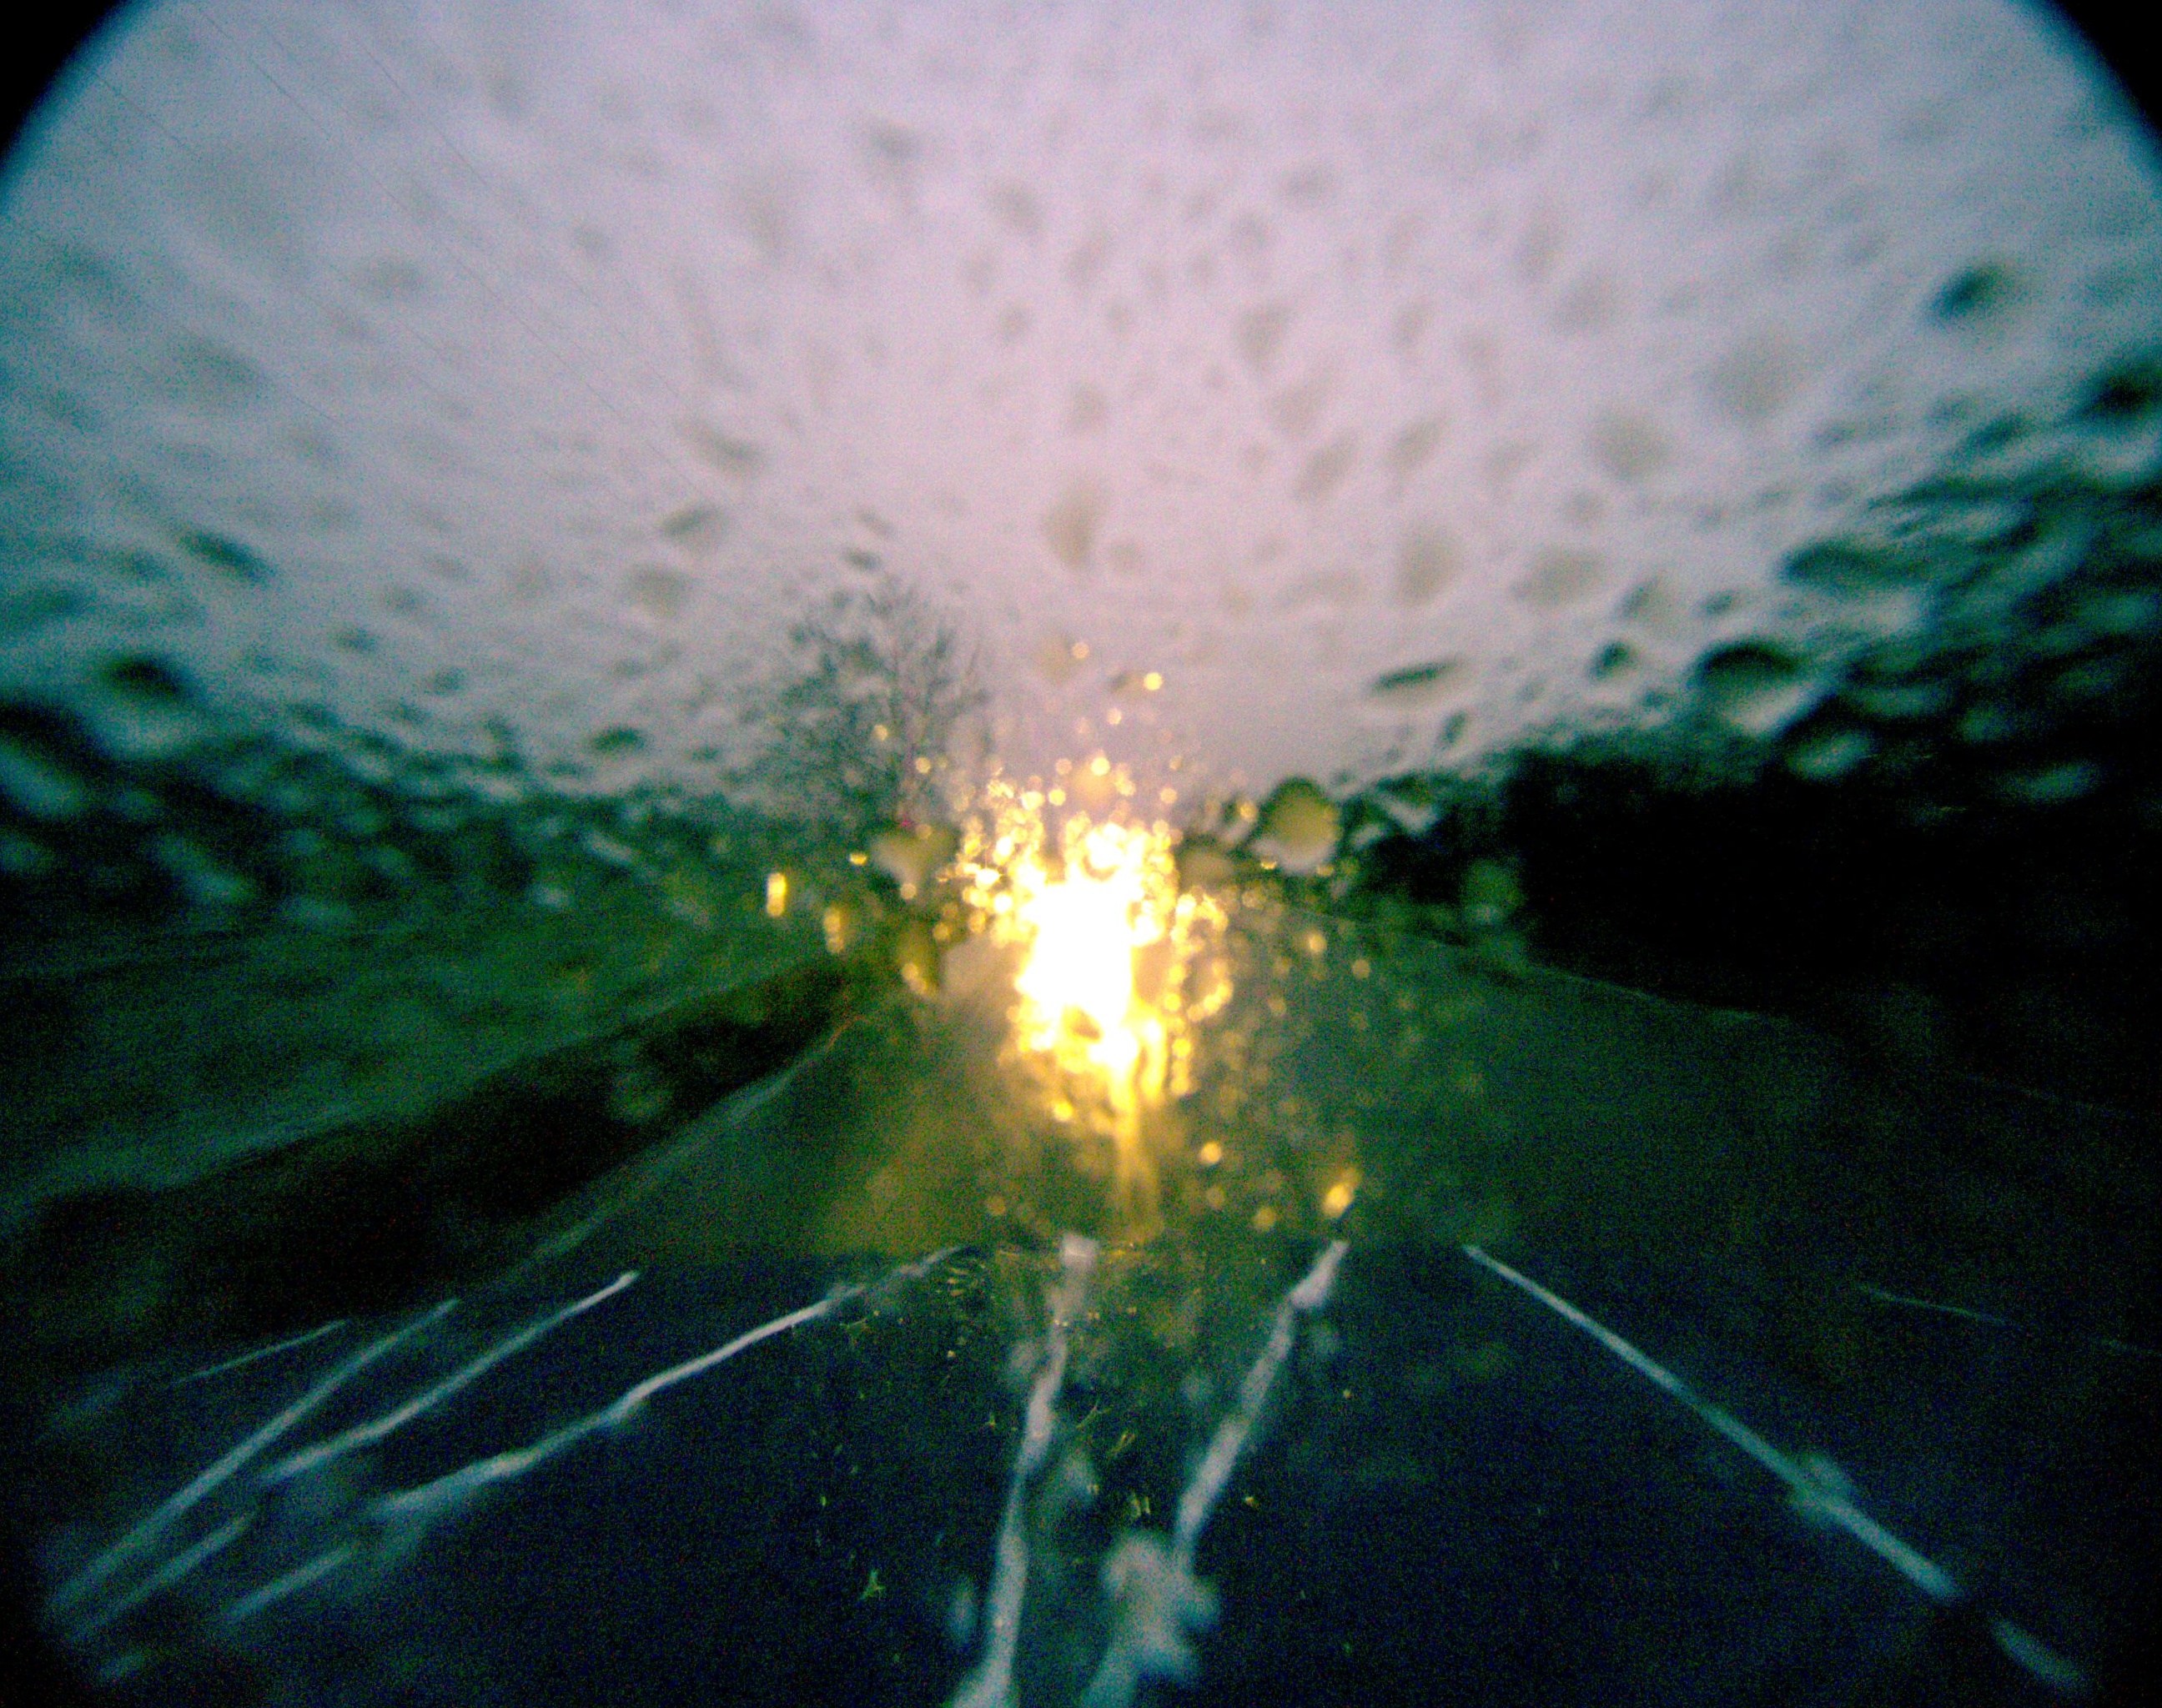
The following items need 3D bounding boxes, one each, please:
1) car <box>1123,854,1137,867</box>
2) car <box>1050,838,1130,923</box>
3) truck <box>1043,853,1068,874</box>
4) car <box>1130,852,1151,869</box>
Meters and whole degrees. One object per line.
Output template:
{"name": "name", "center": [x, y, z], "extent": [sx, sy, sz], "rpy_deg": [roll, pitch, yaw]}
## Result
{"name": "car", "center": [6.818, 0.942, 106.322], "extent": [1.867, 1.690, 4.468], "rpy_deg": [-2, 0, 2]}
{"name": "car", "center": [0.350, 0.639, 20.450], "extent": [1.856, 2.002, 4.001], "rpy_deg": [-2, 0, 4]}
{"name": "truck", "center": [-3.249, 1.202, 100.256], "extent": [2.509, 2.556, 10.806], "rpy_deg": [-2, 0, 2]}
{"name": "car", "center": [5.402, 0.590, 69.026], "extent": [1.659, 1.477, 3.670], "rpy_deg": [-2, 0, 1]}
